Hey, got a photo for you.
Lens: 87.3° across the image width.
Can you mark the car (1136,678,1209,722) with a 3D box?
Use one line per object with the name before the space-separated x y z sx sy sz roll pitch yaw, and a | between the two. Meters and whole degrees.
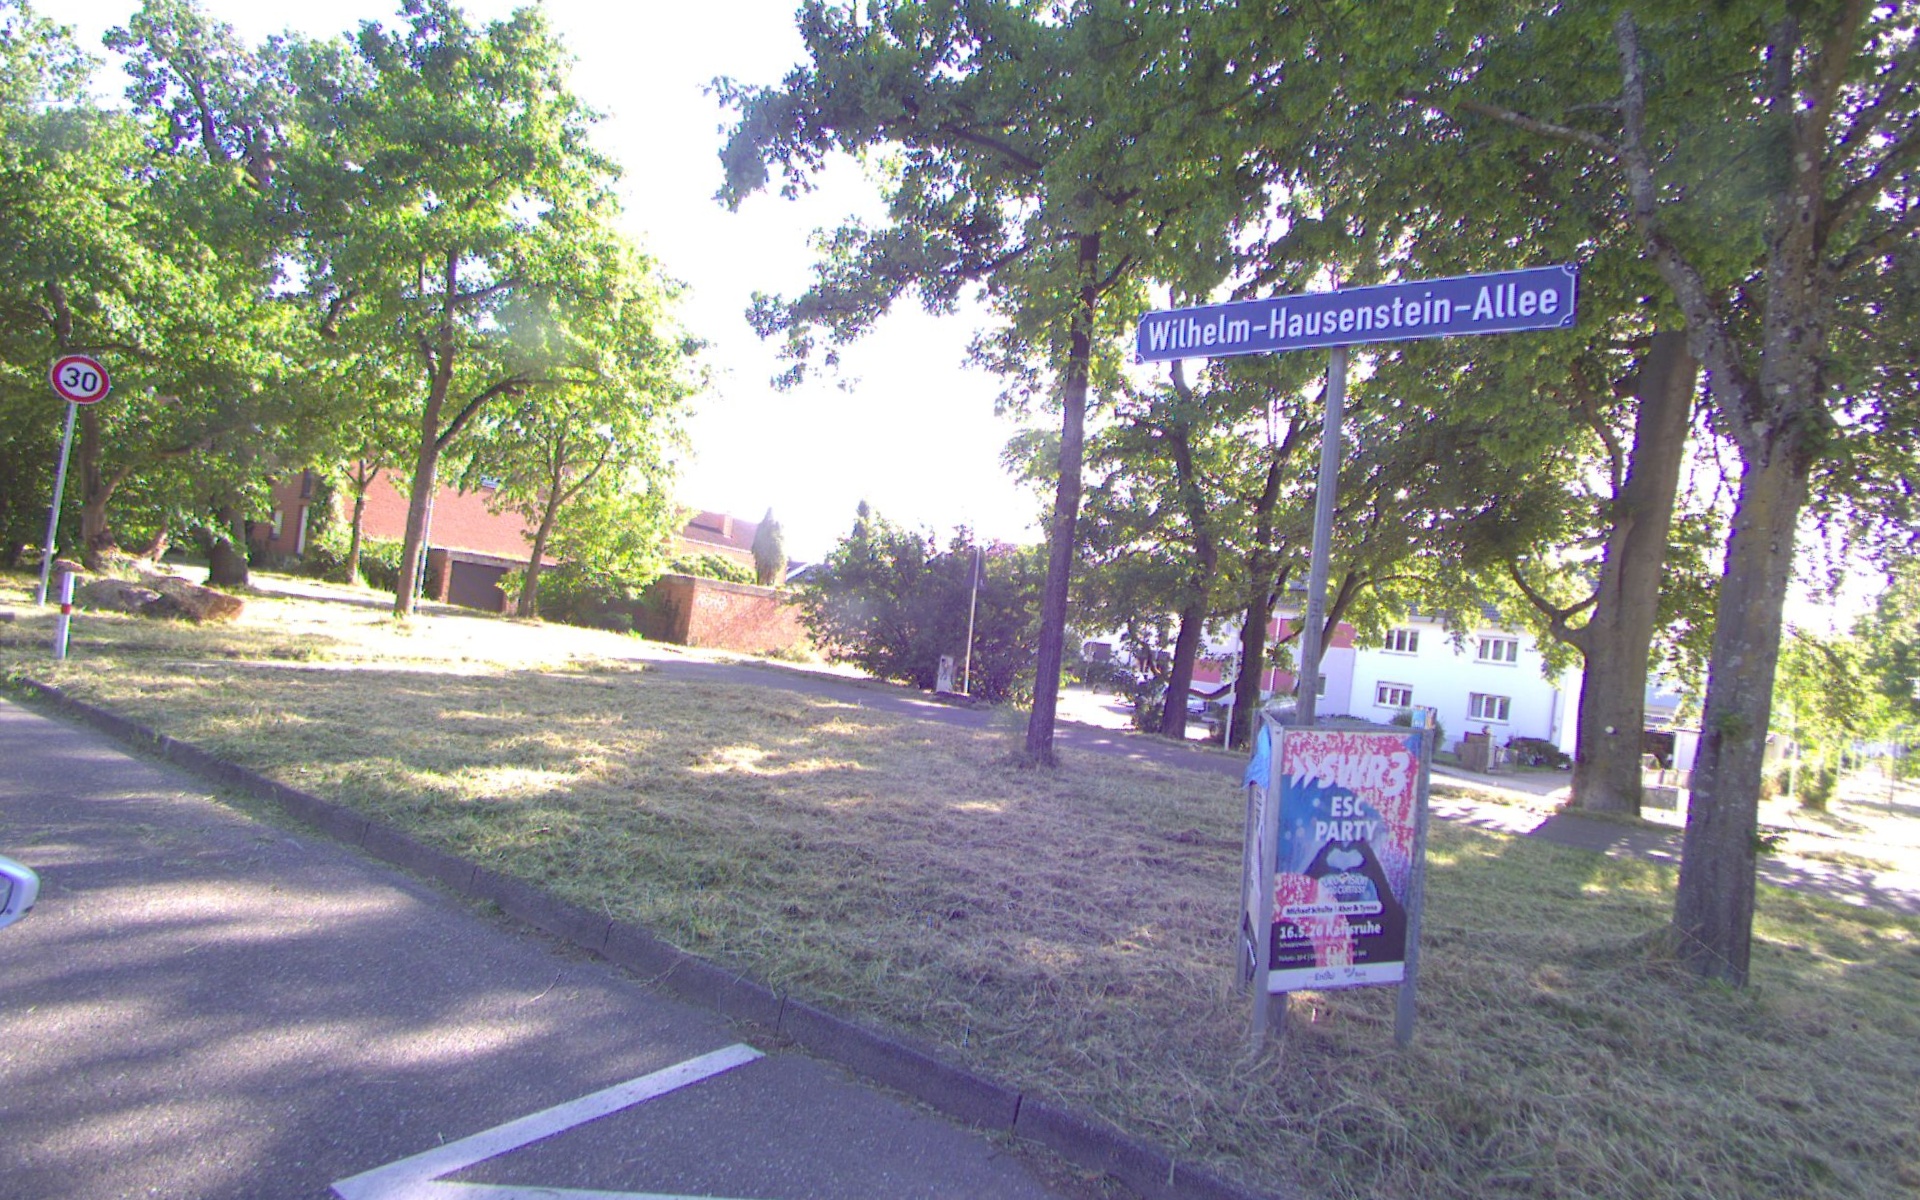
car | 10.094 4.749 47.966 1.514 1.569 3.160 9 -2 -30
